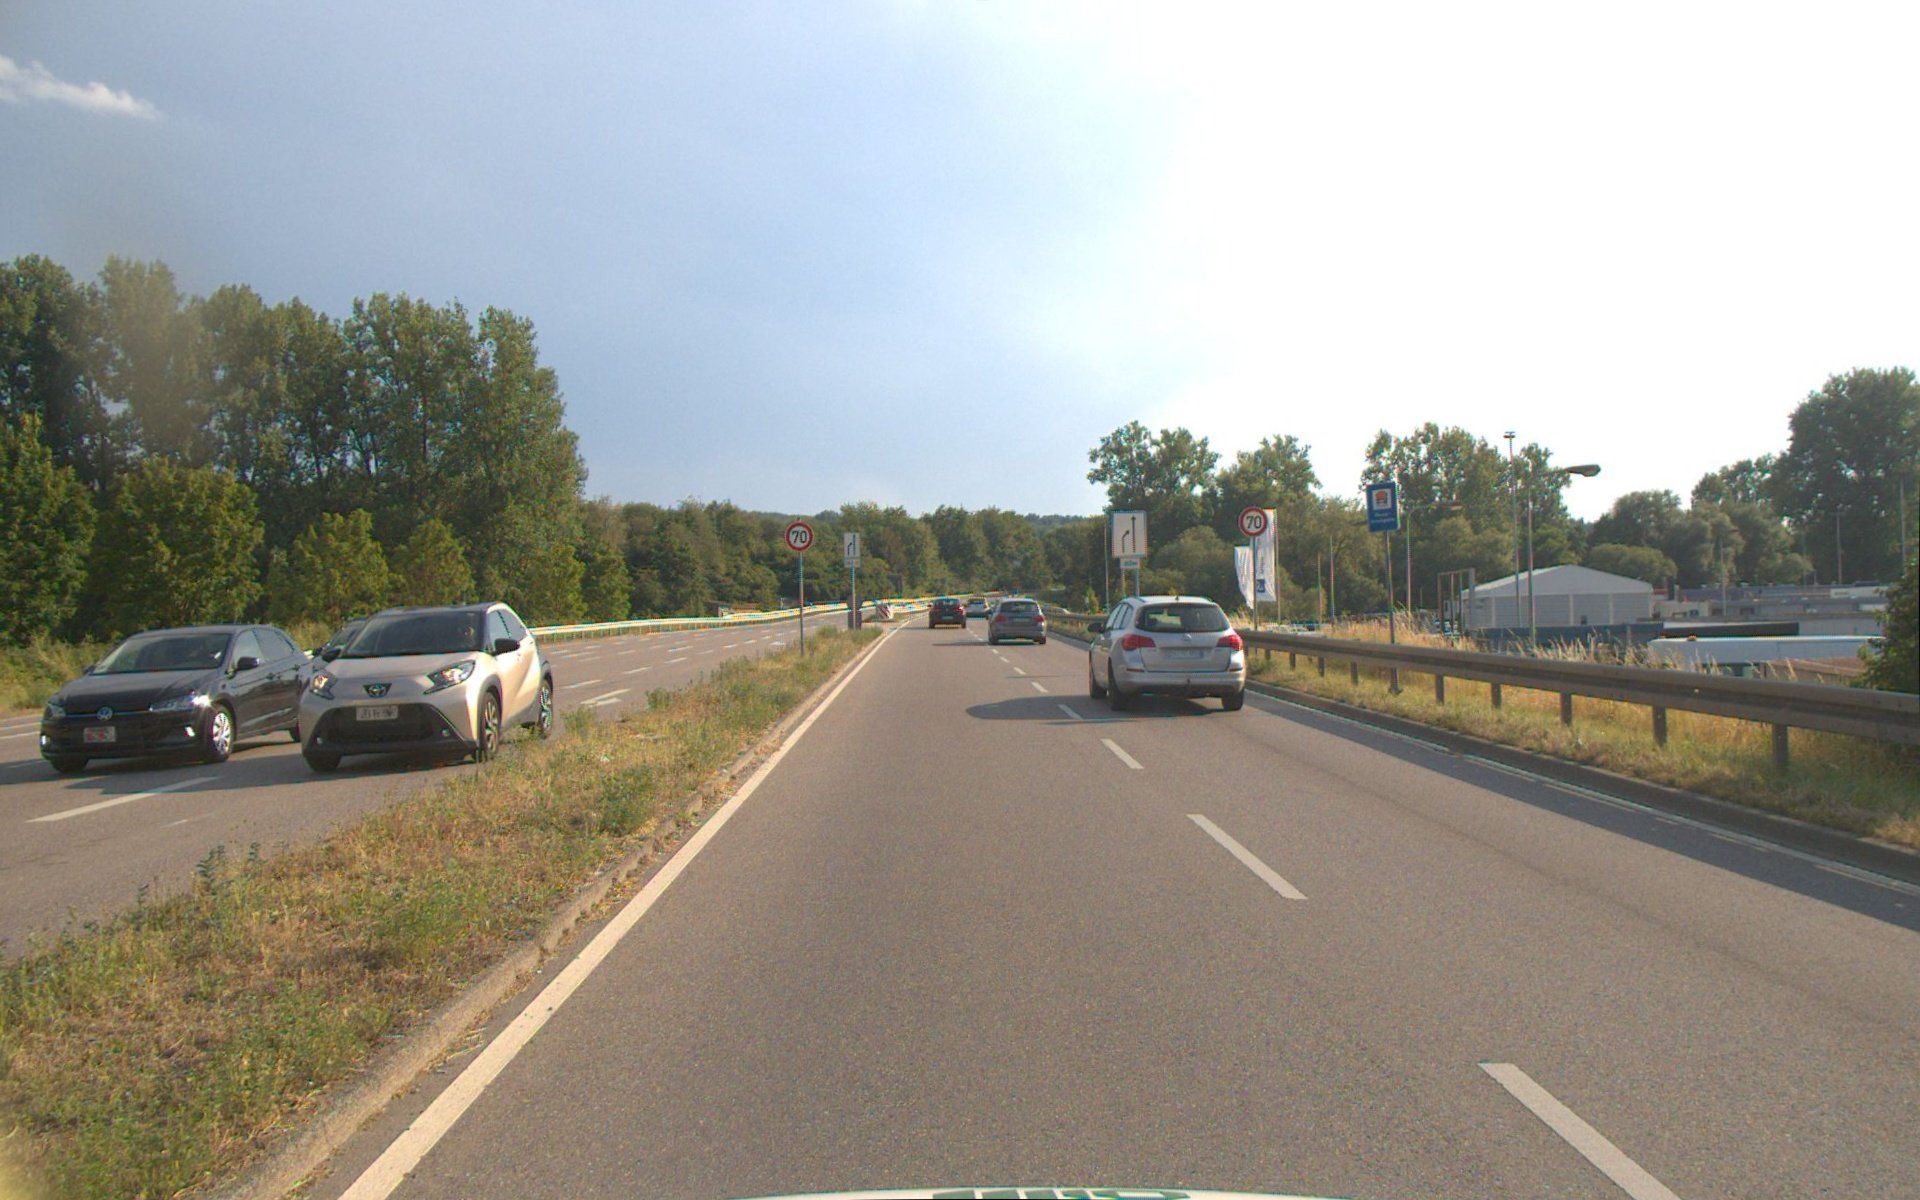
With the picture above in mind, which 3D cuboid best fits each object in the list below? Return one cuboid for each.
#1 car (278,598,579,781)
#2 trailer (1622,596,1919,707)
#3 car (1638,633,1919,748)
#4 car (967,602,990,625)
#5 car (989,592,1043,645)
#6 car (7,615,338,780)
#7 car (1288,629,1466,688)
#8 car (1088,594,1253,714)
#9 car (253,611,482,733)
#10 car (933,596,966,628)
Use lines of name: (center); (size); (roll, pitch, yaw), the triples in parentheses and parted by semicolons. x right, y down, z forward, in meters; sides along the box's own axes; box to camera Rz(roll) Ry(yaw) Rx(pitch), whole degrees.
car: (-5.230, 0.840, 16.845); (1.744, 1.546, 3.999); (-3, -1, -1)
trailer: (25.438, 1.594, 52.275); (7.713, 3.381, 3.360); (0, -1, 4)
car: (13.719, 1.489, 27.777); (3.904, 1.848, 1.835); (0, -1, 2)
car: (1.244, 0.936, 110.642); (1.462, 1.502, 3.359); (0, -1, 1)
car: (1.741, 0.596, 52.795); (1.633, 1.601, 4.000); (1, -1, 1)
car: (-8.555, 0.982, 18.418); (1.668, 1.499, 4.243); (-4, 0, -2)
car: (14.595, 2.033, 58.126); (5.758, 2.049, 2.001); (0, -1, 3)
car: (2.795, 0.713, 22.776); (1.772, 1.512, 3.999); (0, -1, 0)
car: (-8.649, 0.983, 24.611); (1.680, 1.489, 4.725); (-3, 0, -1)
car: (-0.473, 0.583, 77.625); (1.462, 1.502, 3.359); (0, -1, 1)
